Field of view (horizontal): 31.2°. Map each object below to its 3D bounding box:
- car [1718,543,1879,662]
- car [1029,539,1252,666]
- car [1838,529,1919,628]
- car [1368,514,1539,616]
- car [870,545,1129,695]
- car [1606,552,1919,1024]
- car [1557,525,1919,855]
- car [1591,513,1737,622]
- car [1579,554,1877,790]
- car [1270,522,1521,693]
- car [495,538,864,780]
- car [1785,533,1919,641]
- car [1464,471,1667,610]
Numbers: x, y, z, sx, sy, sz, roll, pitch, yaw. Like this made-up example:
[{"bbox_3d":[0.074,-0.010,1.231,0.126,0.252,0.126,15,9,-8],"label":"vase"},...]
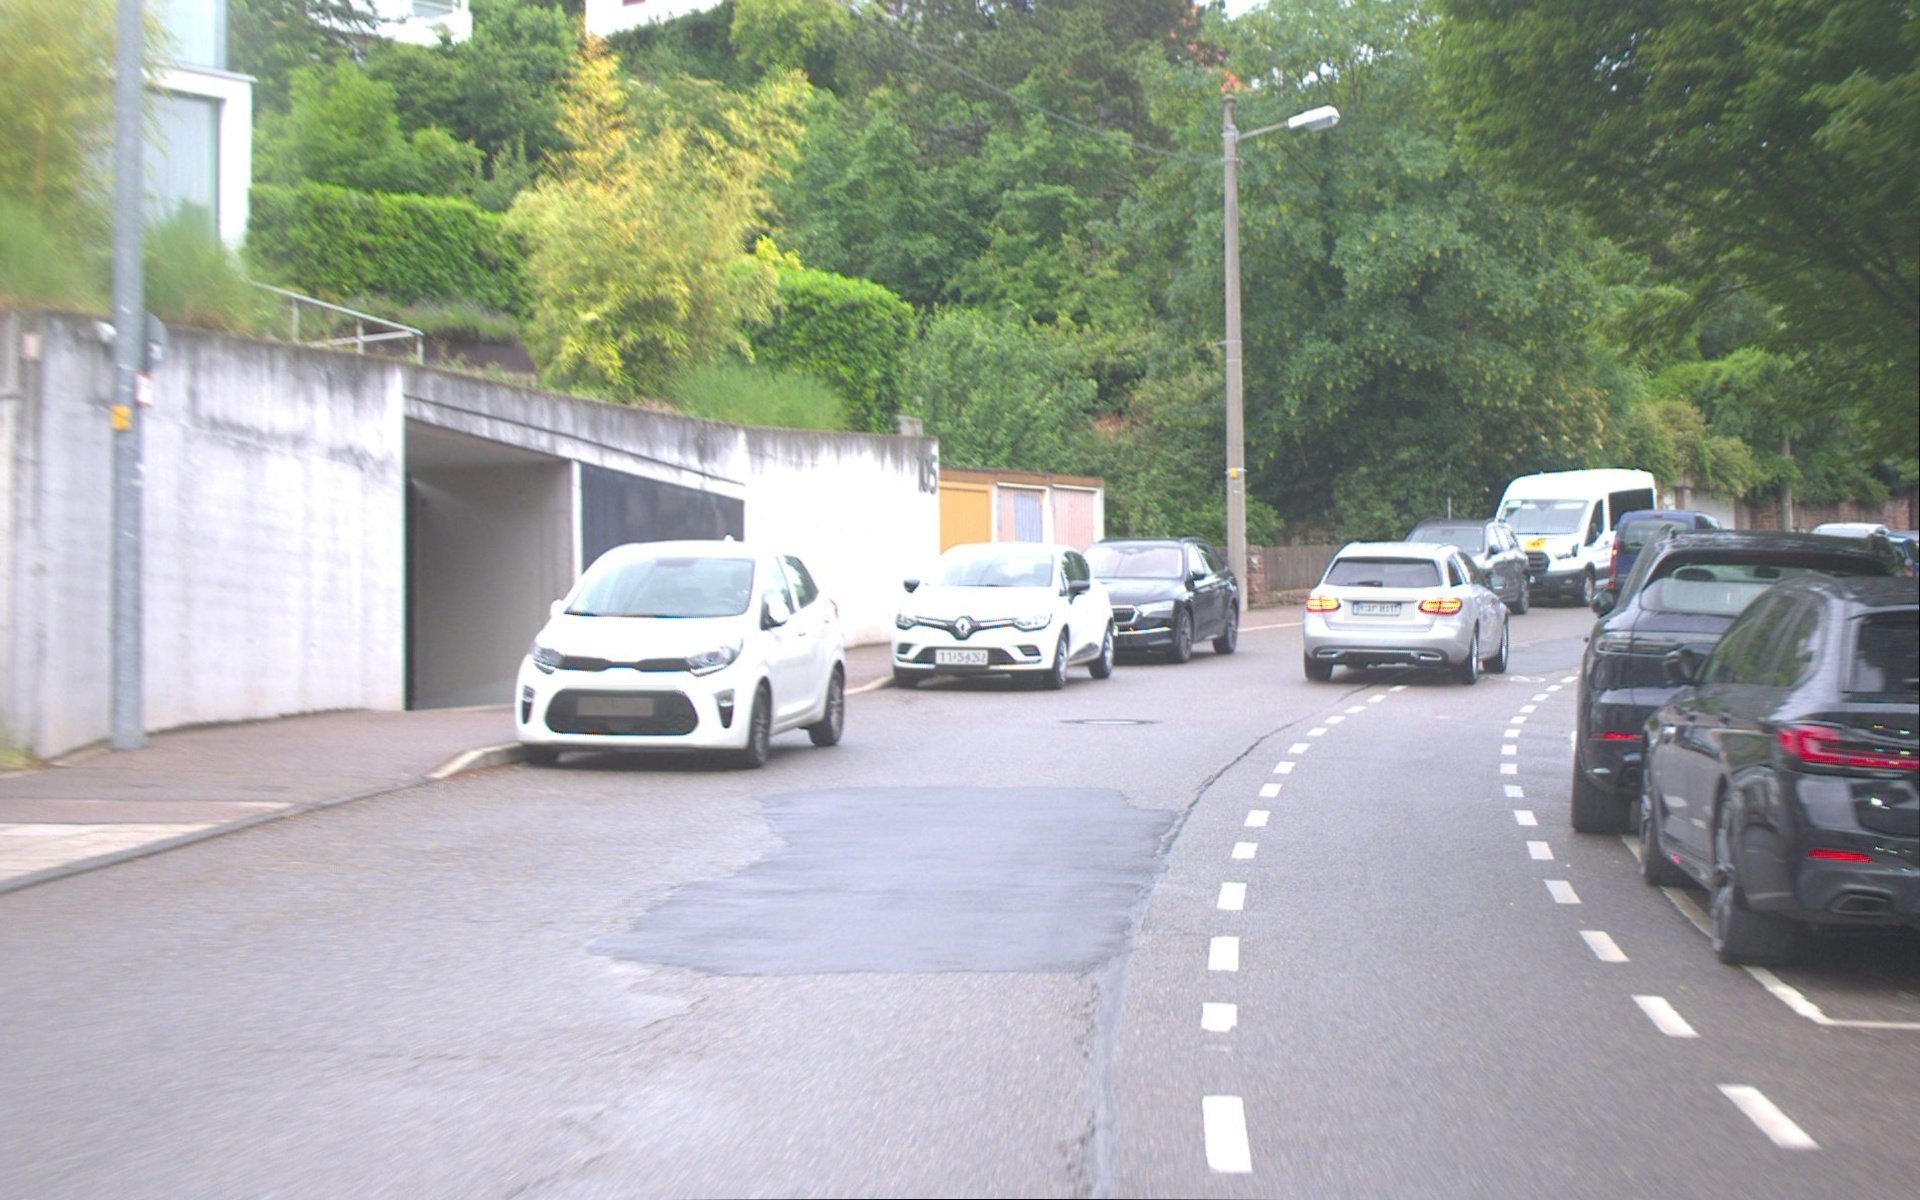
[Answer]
[{"bbox_3d":[11.396,-0.002,46.596,1.670,1.466,3.706,2,2,20],"label":"car"},{"bbox_3d":[2.272,-0.013,42.073,1.714,1.454,4.679,0,1,16],"label":"car"},{"bbox_3d":[15.520,-0.369,56.238,1.656,1.514,3.996,2,2,22],"label":"car"},{"bbox_3d":[8.532,-0.631,59.150,1.898,1.685,4.541,0,1,22],"label":"car"},{"bbox_3d":[0.473,0.162,35.592,1.833,1.435,4.038,0,1,13],"label":"car"},{"bbox_3d":[3.877,0.617,14.191,1.855,1.575,4.857,0,1,4],"label":"car"},{"bbox_3d":[4.645,0.395,20.034,2.055,1.650,5.233,1,1,12],"label":"car"},{"bbox_3d":[11.637,-0.548,56.687,1.995,1.702,3.997,1,1,16],"label":"car"},{"bbox_3d":[5.638,0.449,25.754,1.862,1.464,5.054,3,2,10],"label":"car"},{"bbox_3d":[4.740,0.037,36.912,2.027,1.702,4.212,1,1,16],"label":"car"},{"bbox_3d":[-1.856,0.342,23.898,1.628,1.510,3.831,0,1,10],"label":"car"},{"bbox_3d":[13.684,-0.220,52.612,1.628,1.557,3.019,2,2,22],"label":"car"},{"bbox_3d":[11.698,-1.194,66.025,2.097,2.541,6.088,0,2,27],"label":"car"}]
